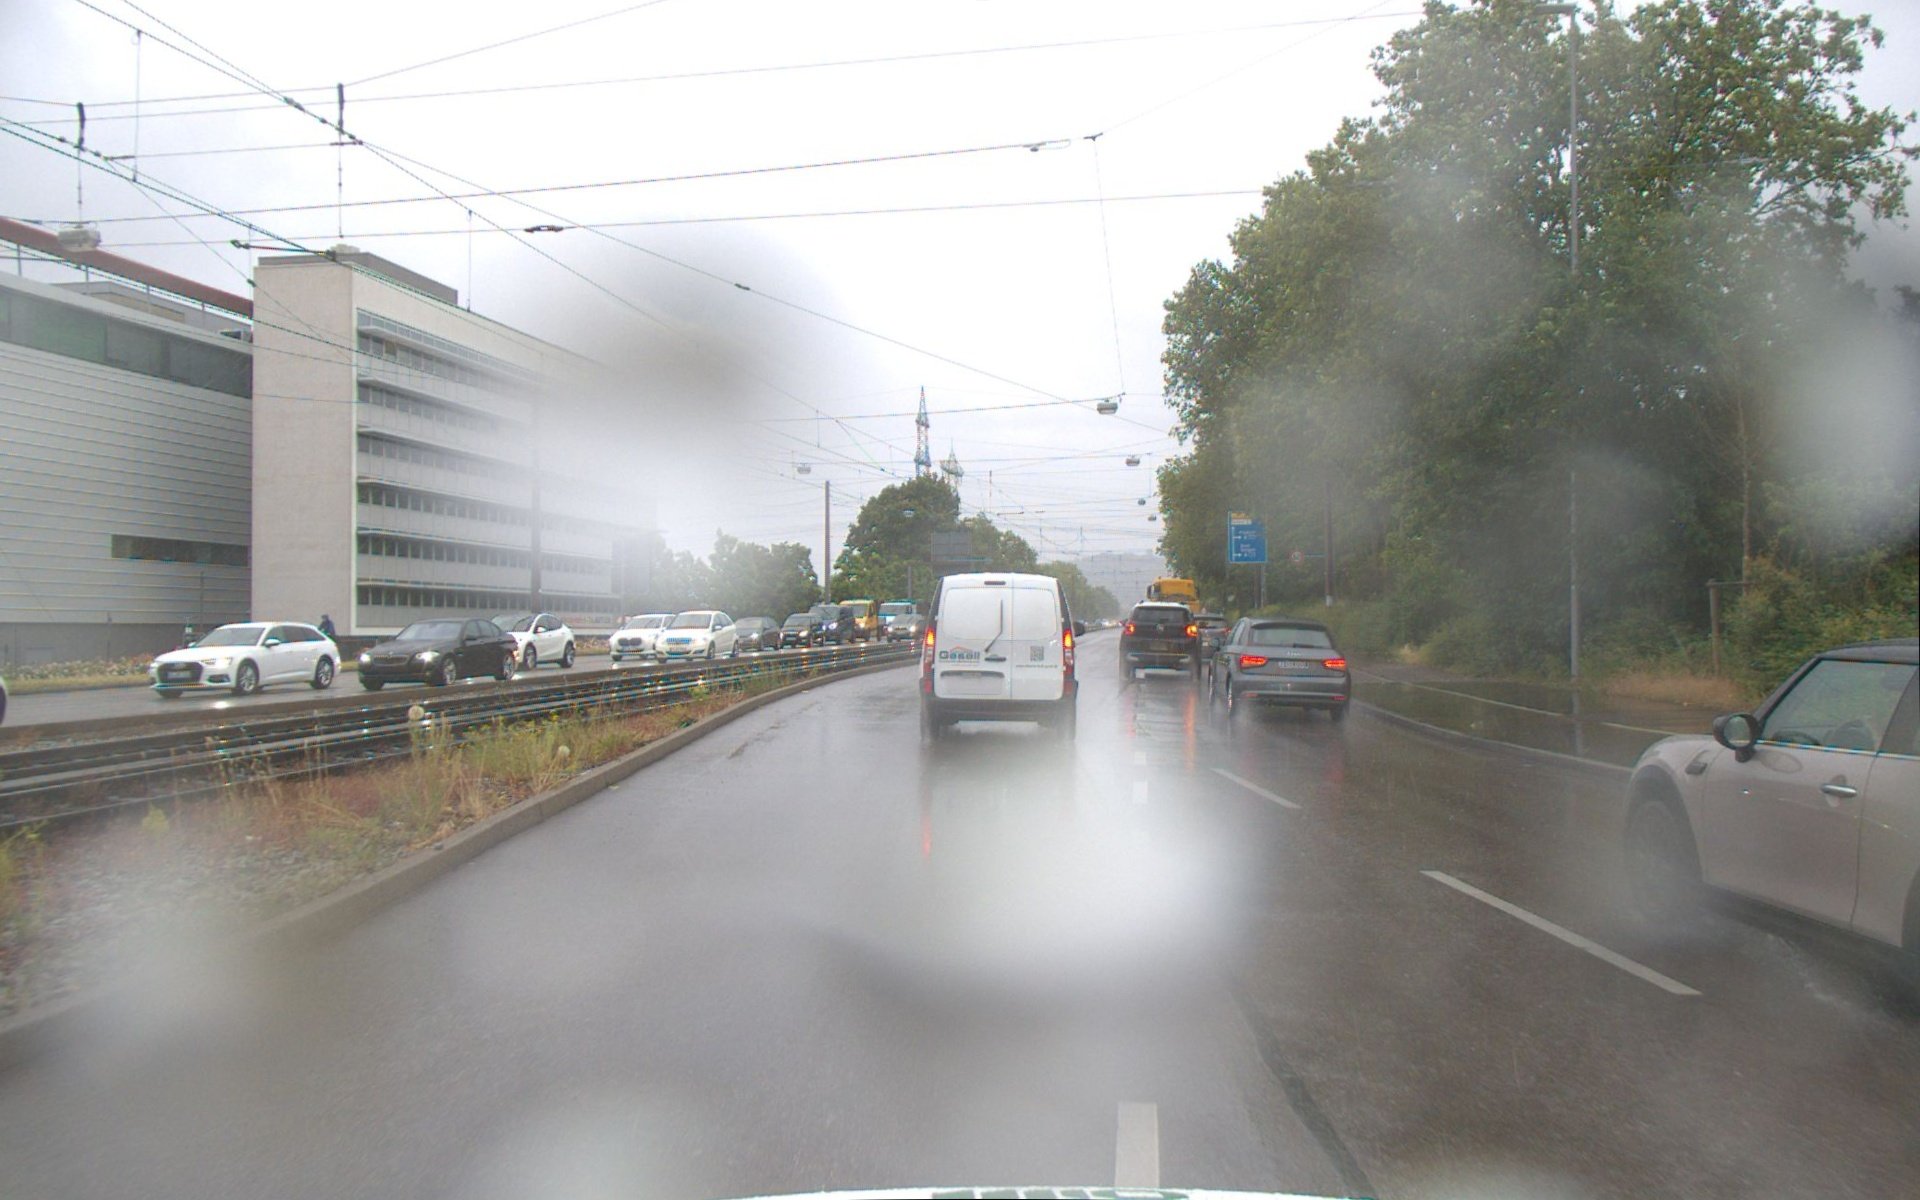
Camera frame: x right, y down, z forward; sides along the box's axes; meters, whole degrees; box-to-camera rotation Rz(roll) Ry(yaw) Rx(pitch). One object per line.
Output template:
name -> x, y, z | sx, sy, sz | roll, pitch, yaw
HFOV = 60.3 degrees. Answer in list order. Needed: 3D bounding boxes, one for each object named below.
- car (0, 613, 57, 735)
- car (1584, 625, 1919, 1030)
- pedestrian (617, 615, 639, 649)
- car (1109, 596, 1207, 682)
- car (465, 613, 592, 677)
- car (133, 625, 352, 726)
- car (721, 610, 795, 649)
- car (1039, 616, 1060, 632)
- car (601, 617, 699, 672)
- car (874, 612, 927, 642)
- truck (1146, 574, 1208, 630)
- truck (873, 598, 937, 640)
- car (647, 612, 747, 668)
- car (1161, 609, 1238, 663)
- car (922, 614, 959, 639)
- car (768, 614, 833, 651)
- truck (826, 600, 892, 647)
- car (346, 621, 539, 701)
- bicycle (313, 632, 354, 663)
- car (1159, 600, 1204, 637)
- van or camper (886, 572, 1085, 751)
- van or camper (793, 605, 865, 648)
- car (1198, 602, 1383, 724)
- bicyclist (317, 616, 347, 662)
car -> -13.648, 0.987, 20.869 | 1.675, 1.562, 4.051 | 1, 1, 13
car -> 4.256, 0.838, 6.855 | 1.755, 1.439, 3.851 | 1, -1, -3
pedestrian -> -18.049, 1.748, 89.960 | 0.805, 1.793, 1.051 | 2, -1, 10
car -> 4.328, 0.805, 36.682 | 1.860, 1.747, 4.727 | 1, 0, 3
car -> -12.520, 1.276, 48.304 | 1.867, 1.634, 4.846 | 2, 0, 7
car -> -14.978, 1.515, 34.858 | 1.951, 1.935, 4.794 | 1, -1, 8
car -> -8.648, 1.279, 71.281 | 1.921, 1.543, 4.558 | -2, -1, 9
car -> 9.255, 2.435, 170.254 | 1.780, 1.651, 4.539 | 0, -1, 8
car -> -11.038, 1.556, 59.200 | 1.951, 1.866, 4.696 | -1, -1, 9
car -> -3.167, 1.472, 89.012 | 1.951, 1.482, 4.675 | -3, -1, 8
truck -> 11.303, 0.111, 86.014 | 3.046, 2.822, 6.334 | 0, 0, 8
truck -> -3.406, 1.199, 104.698 | 2.383, 2.501, 7.224 | 1, 0, 11
car -> -8.373, 1.235, 53.049 | 1.833, 1.601, 4.332 | 1, 1, 10
car -> 6.938, 1.011, 48.198 | 1.780, 1.438, 3.779 | 1, 0, 1
car -> -1.395, 1.858, 118.230 | 1.733, 1.712, 4.693 | 1, 0, 10
car -> -7.617, 1.546, 79.343 | 1.818, 1.646, 4.911 | -2, -1, 10
truck -> -5.698, 1.339, 94.193 | 2.179, 2.505, 6.071 | 1, 0, 11
car -> -11.104, 1.269, 35.924 | 1.882, 1.448, 5.088 | 1, 1, 9
bicycle -> -22.286, 1.685, 58.867 | 0.654, 1.033, 1.557 | 2, 0, 8
car -> 9.256, 0.746, 68.944 | 1.779, 1.438, 3.781 | 1, 0, 9
van or camper -> 0.407, 0.616, 19.193 | 1.951, 1.816, 4.003 | 1, 1, 6
van or camper -> -6.662, 1.342, 85.047 | 2.255, 2.049, 5.690 | 2, 0, 10
car -> 4.660, 0.835, 23.864 | 1.927, 1.555, 3.991 | 1, 0, 1
bicyclist -> -22.297, 1.382, 58.727 | 0.657, 1.617, 0.792 | 2, -1, 8
